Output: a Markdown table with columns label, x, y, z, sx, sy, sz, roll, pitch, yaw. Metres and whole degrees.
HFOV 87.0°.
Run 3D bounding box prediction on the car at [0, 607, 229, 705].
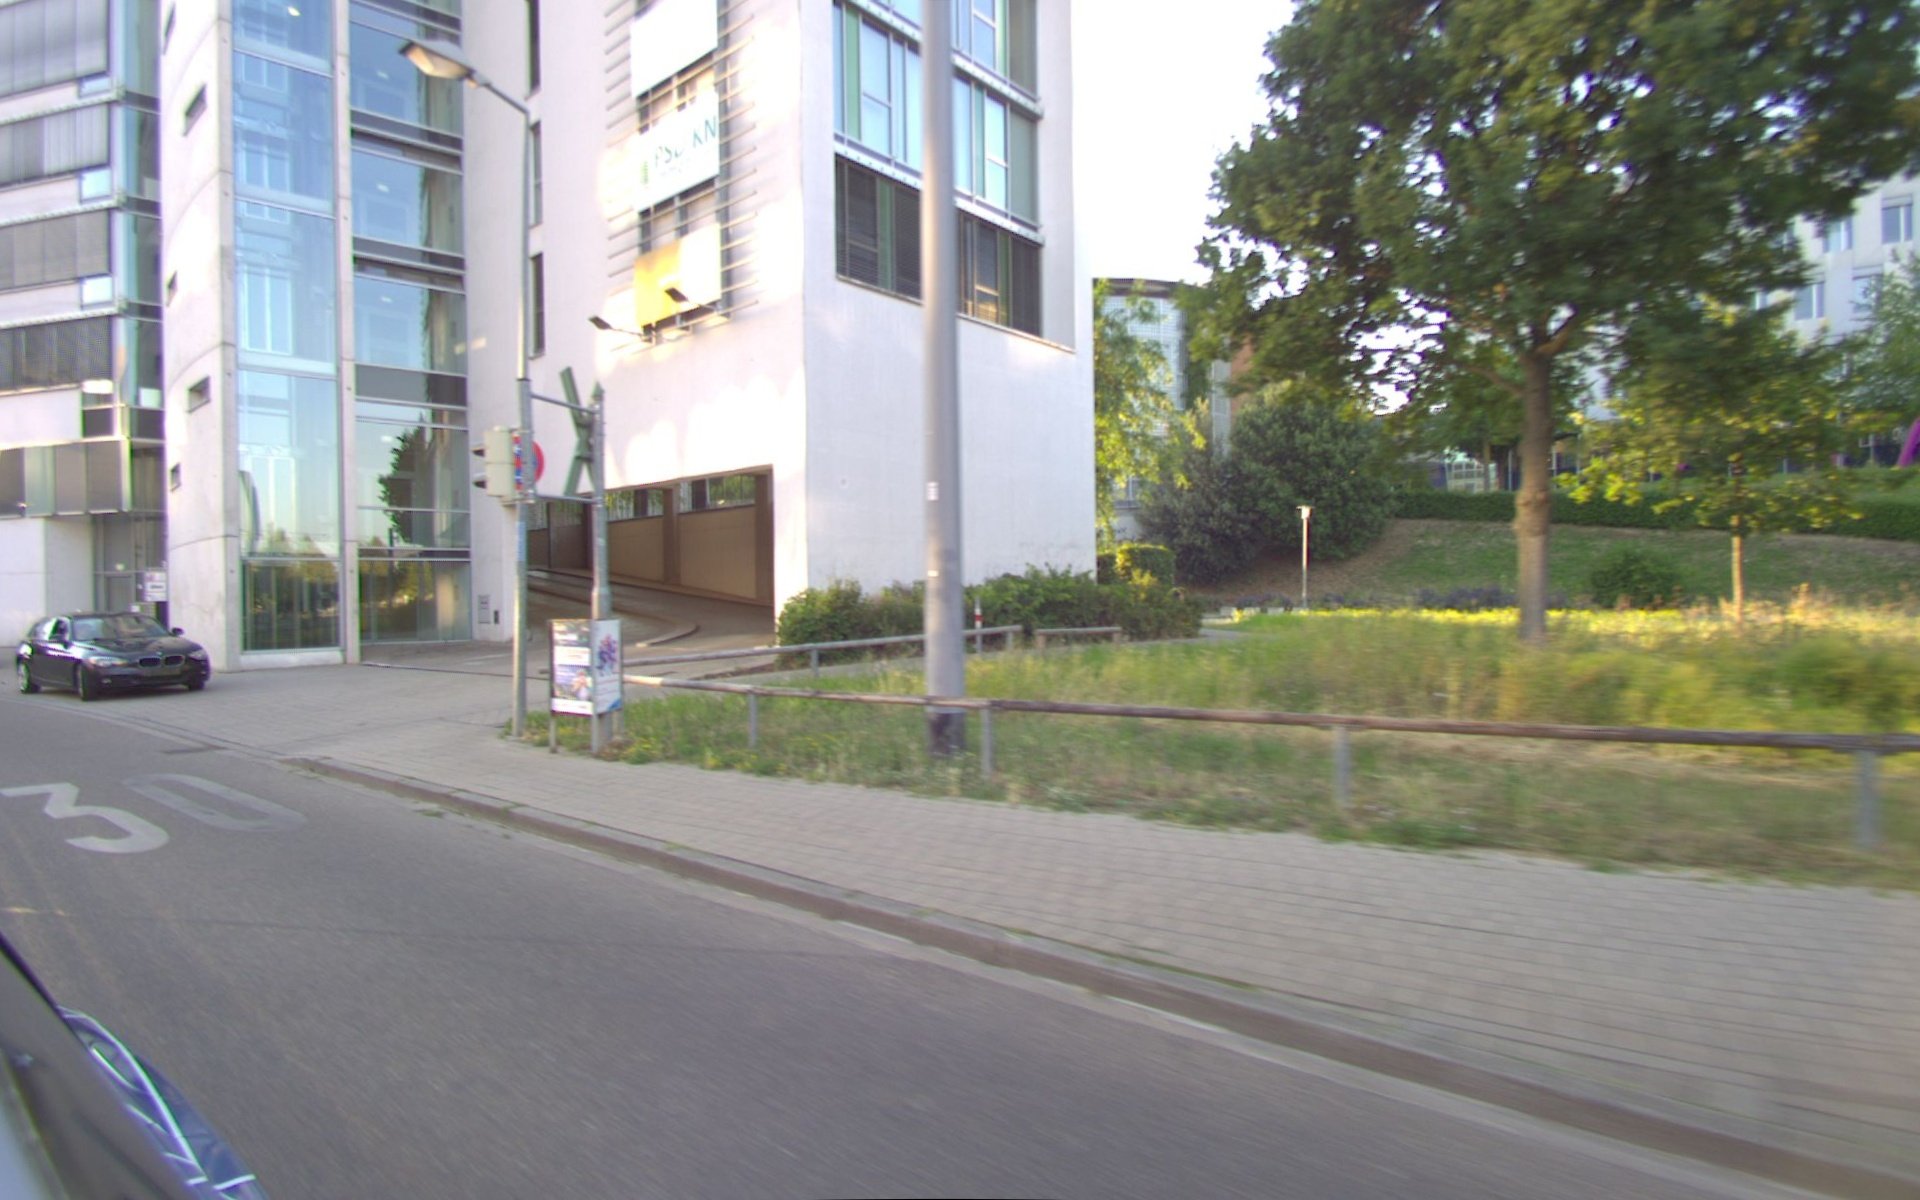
| label | x | y | z | sx | sy | sz | roll | pitch | yaw |
| --- | --- | --- | --- | --- | --- | --- | --- | --- | --- |
| car | -14.877 | 0.924 | 17.738 | 4.214 | 1.453 | 1.839 | -1 | 2 | 32 |
